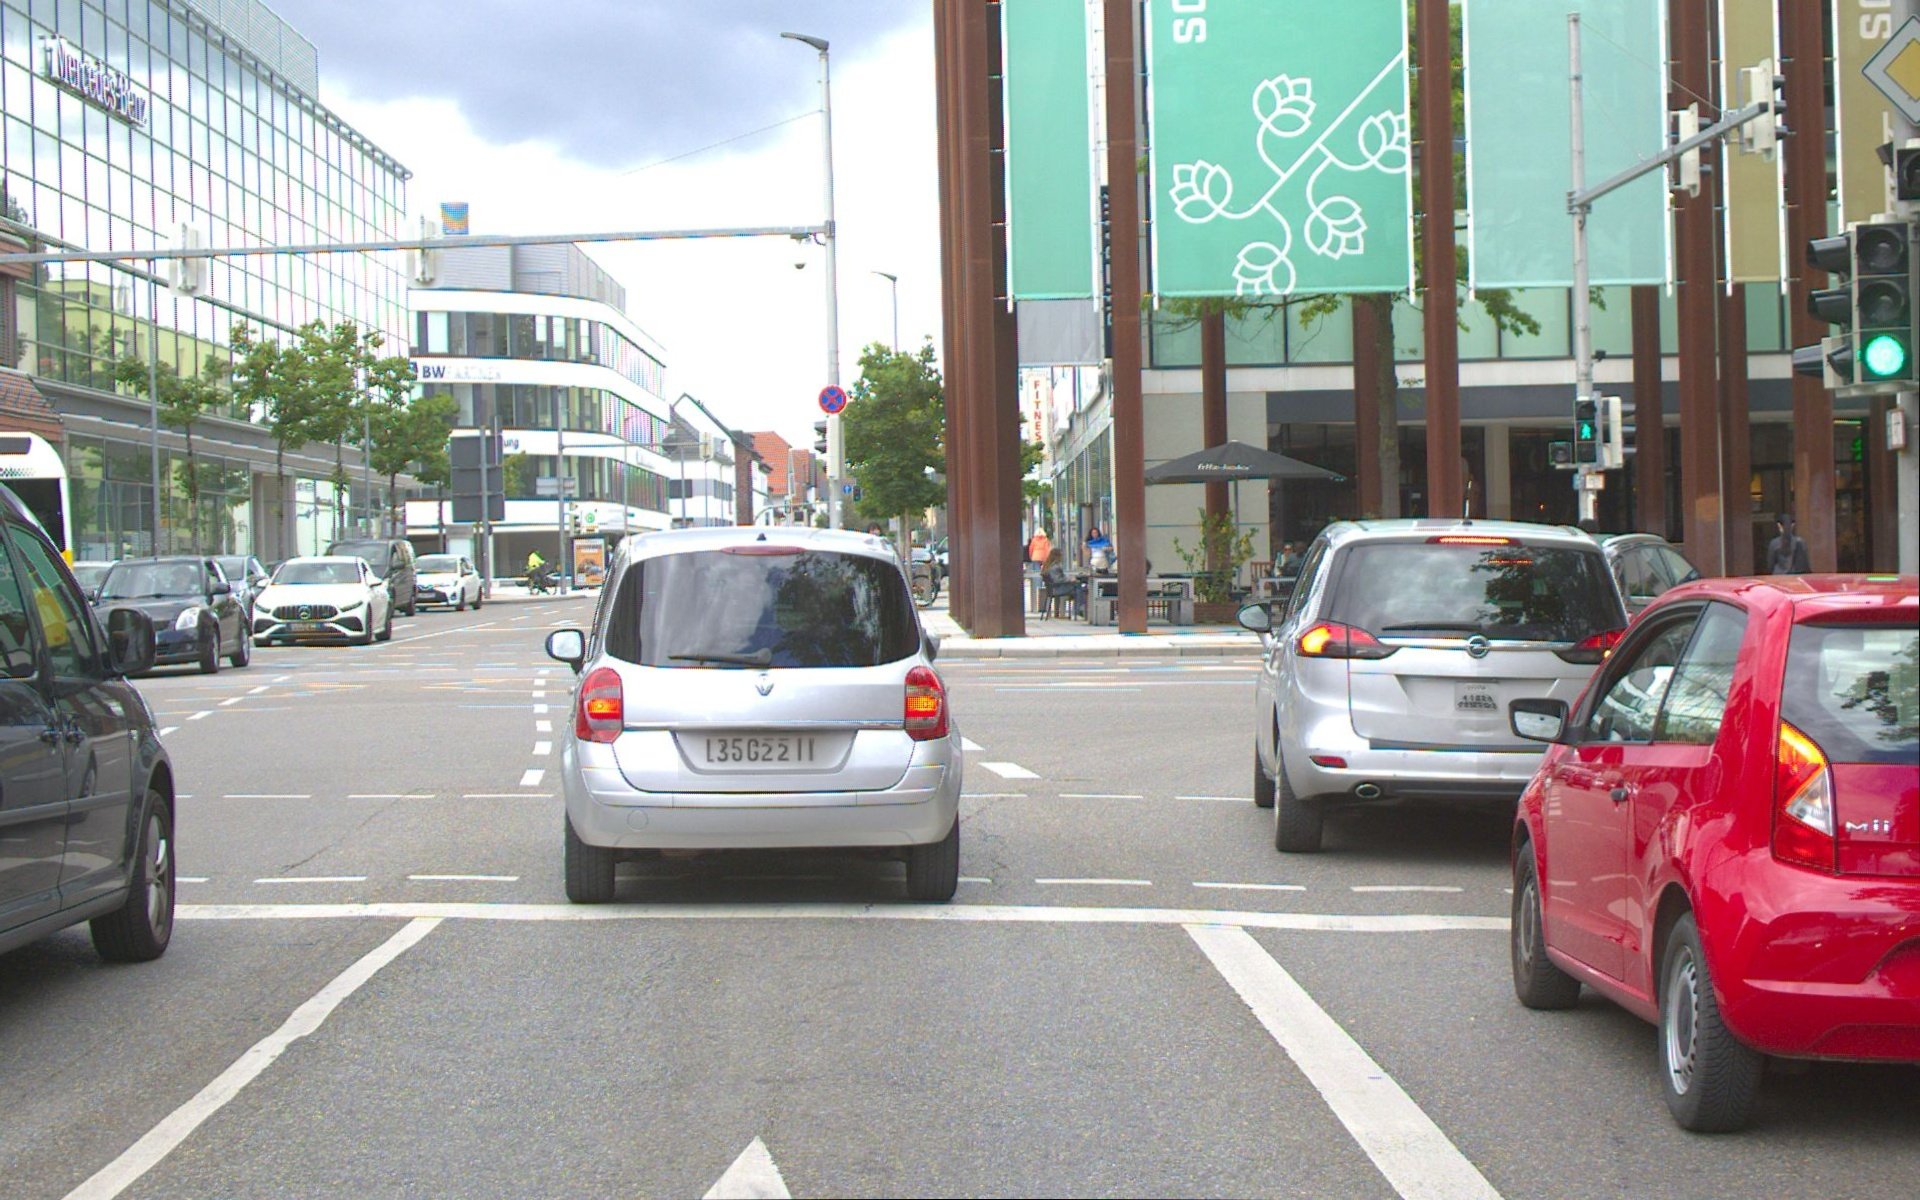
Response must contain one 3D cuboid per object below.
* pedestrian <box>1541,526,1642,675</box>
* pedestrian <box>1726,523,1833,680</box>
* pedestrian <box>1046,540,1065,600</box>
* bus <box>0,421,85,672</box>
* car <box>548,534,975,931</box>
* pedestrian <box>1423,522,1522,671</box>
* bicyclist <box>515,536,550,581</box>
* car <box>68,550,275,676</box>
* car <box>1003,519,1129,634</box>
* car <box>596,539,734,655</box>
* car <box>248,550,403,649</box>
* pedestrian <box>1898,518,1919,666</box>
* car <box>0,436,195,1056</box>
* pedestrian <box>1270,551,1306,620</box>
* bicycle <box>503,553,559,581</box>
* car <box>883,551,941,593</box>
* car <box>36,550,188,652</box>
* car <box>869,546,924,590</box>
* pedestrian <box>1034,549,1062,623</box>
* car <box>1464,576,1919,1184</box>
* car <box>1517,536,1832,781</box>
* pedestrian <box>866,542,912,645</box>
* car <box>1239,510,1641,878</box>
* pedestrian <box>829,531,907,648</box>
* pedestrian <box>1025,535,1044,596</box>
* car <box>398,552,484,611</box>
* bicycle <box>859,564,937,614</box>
[{"bbox_3d":[7.294,-0.004,39.741,0.878,1.675,1.120,-1,1,-4],"label":"pedestrian"},{"bbox_3d":[9.412,0.005,39.531,0.878,1.761,1.120,-1,1,-4],"label":"pedestrian"},{"bbox_3d":[2.453,-0.776,88.462,0.427,1.544,0.481,-1,1,-3],"label":"pedestrian"},{"bbox_3d":[-15.994,-0.455,42.118,2.991,3.316,12.291,-3,1,25],"label":"bus"},{"bbox_3d":[-0.817,0.499,15.482,1.669,1.549,3.642,1,1,-1],"label":"car"},{"bbox_3d":[5.904,-0.045,39.641,0.878,1.675,1.120,-1,1,-4],"label":"pedestrian"},{"bbox_3d":[-16.129,-1.558,129.581,1.006,1.655,0.933,1,0,-29],"label":"bicyclist"},{"bbox_3d":[-9.862,0.130,43.270,1.744,1.454,3.818,-2,1,-1],"label":"car"},{"bbox_3d":[1.612,-0.387,53.652,1.739,1.695,4.381,1,1,-1],"label":"car"},{"bbox_3d":[-4.142,-0.063,48.635,1.669,1.549,3.642,1,1,-1],"label":"car"},{"bbox_3d":[-10.153,-0.041,55.237,1.744,1.454,4.235,-2,1,-1],"label":"car"},{"bbox_3d":[11.822,-0.105,41.018,0.878,1.761,1.120,-1,1,-4],"label":"pedestrian"},{"bbox_3d":[-3.674,0.405,10.673,1.707,1.814,4.572,1,1,-2],"label":"car"},{"bbox_3d":[5.873,-0.272,61.635,0.515,1.204,0.796,-1,2,-3],"label":"pedestrian"},{"bbox_3d":[-16.209,-1.255,129.718,1.006,1.015,3.130,1,0,-28],"label":"bicycle"},{"bbox_3d":[-1.589,-0.960,115.045,1.877,1.330,4.000,1,1,0],"label":"car"},{"bbox_3d":[-13.675,-0.015,55.624,1.634,1.413,4.200,-3,2,-4],"label":"car"},{"bbox_3d":[-2.246,-1.135,121.779,1.877,1.503,4.000,1,1,0],"label":"car"},{"bbox_3d":[1.469,-0.236,57.254,0.447,1.216,0.606,-1,1,2],"label":"pedestrian"},{"bbox_3d":[2.617,0.680,10.213,1.626,1.443,3.642,1,1,-1],"label":"car"},{"bbox_3d":[5.368,0.348,25.365,1.852,1.603,4.857,1,1,17],"label":"car"},{"bbox_3d":[-0.988,-0.088,47.889,0.601,1.415,0.582,-1,1,2],"label":"pedestrian"},{"bbox_3d":[2.425,0.407,18.308,1.740,1.695,4.380,1,1,3],"label":"car"},{"bbox_3d":[-1.313,-0.155,49.123,0.871,1.641,0.679,0,1,34],"label":"pedestrian"},{"bbox_3d":[1.906,-0.891,88.382,0.427,1.544,0.481,-1,1,-3],"label":"pedestrian"},{"bbox_3d":[-13.727,-0.510,91.032,1.660,1.460,4.000,-2,1,-1],"label":"car"},{"bbox_3d":[-1.273,-0.221,70.763,1.561,0.989,0.752,-1,1,3],"label":"bicycle"}]
